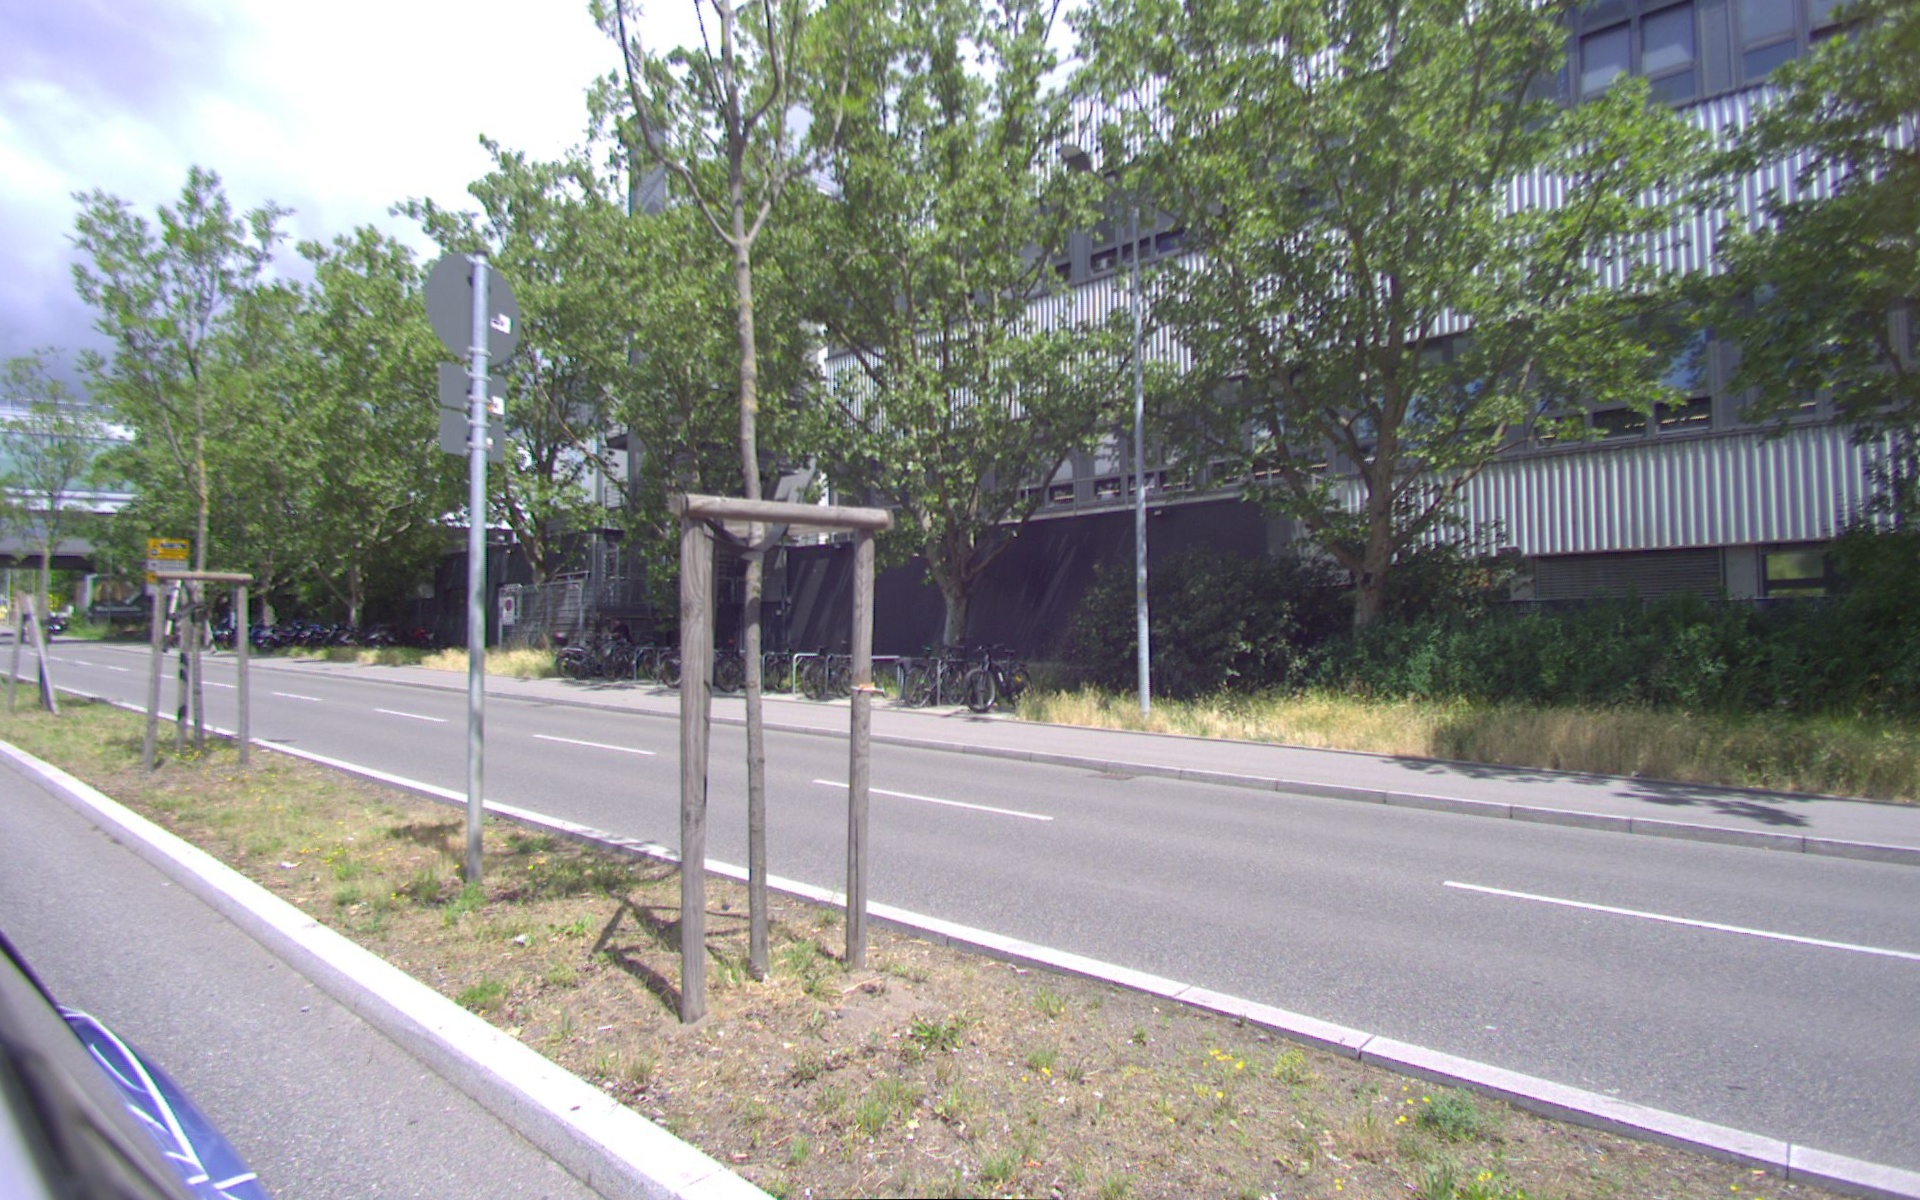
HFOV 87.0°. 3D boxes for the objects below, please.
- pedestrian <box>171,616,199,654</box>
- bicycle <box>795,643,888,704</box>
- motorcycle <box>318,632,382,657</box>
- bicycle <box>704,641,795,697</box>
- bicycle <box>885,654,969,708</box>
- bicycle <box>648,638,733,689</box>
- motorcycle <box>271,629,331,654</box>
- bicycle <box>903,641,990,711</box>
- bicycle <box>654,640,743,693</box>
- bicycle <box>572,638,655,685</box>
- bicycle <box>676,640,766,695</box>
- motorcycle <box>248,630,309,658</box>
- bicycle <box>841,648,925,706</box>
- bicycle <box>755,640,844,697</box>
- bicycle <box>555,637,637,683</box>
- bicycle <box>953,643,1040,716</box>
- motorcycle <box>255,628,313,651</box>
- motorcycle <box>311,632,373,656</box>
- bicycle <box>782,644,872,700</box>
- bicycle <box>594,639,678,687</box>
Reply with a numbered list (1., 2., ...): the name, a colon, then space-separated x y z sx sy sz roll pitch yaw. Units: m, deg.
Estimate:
1. pedestrian: -35.961 1.635 46.980 0.672 1.734 0.888 -2 -2 41
2. bicycle: -2.341 1.435 20.230 0.382 1.104 2.101 -2 -1 43
3. motorcycle: -23.978 1.729 39.827 0.534 0.905 2.105 -2 -1 41
4. bicycle: -4.544 1.480 22.018 0.382 1.119 2.101 -2 -1 43
5. bicycle: -0.598 1.521 19.223 0.381 0.897 1.968 -2 -1 39
6. bicycle: -6.482 1.512 24.415 0.382 1.119 2.101 -2 -1 43
7. motorcycle: -28.073 1.757 43.145 0.534 0.976 2.105 -2 -1 41
8. bicycle: -0.221 1.336 18.122 0.381 1.137 1.968 -2 -1 39
9. bicycle: -5.991 1.500 23.265 0.382 1.119 2.101 -2 -1 43
10. bicycle: -8.906 1.571 26.088 0.382 1.119 2.101 -2 -1 43
11. bicycle: -5.334 1.489 22.669 0.382 1.119 2.101 -2 -1 43
12. motorcycle: -29.425 1.872 43.710 0.534 1.146 2.105 -2 -1 41
13. bicycle: -1.470 1.477 19.708 0.381 1.005 1.968 -2 -1 39
14. bicycle: -3.413 1.457 21.752 0.382 1.119 2.101 -2 -1 43
15. bicycle: -9.547 1.552 26.633 0.382 1.119 2.101 -2 -1 43
16. bicycle: 0.659 1.339 17.399 0.381 1.137 1.968 -2 -1 39
17. motorcycle: -30.099 1.744 45.076 0.534 0.976 2.105 -2 -1 41
18. motorcycle: -25.233 1.781 41.365 0.534 0.892 2.105 -2 -1 41
19. bicycle: -2.744 1.480 21.138 0.382 1.038 2.101 -2 -1 43
20. bicycle: -8.161 1.567 25.539 0.382 1.119 2.101 -2 -1 43
